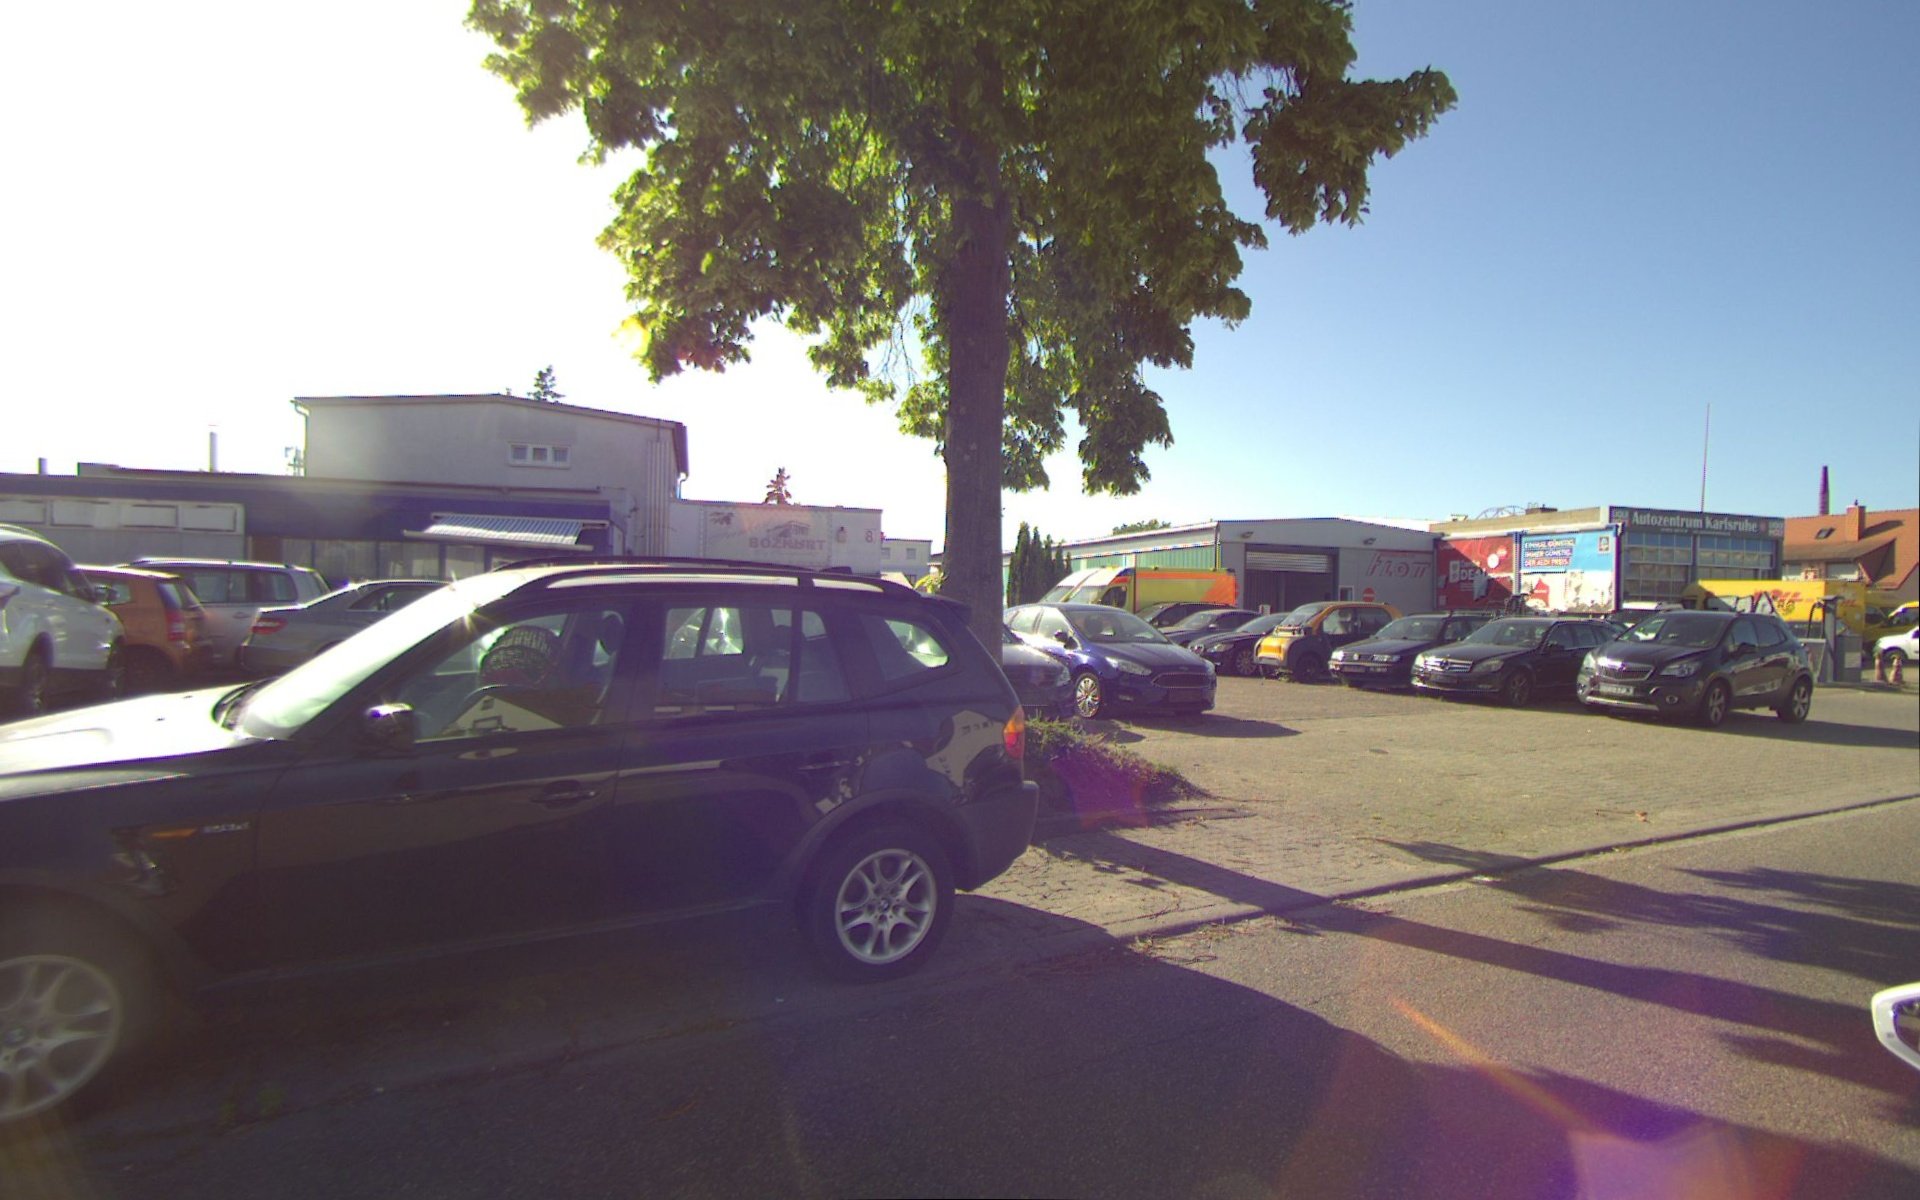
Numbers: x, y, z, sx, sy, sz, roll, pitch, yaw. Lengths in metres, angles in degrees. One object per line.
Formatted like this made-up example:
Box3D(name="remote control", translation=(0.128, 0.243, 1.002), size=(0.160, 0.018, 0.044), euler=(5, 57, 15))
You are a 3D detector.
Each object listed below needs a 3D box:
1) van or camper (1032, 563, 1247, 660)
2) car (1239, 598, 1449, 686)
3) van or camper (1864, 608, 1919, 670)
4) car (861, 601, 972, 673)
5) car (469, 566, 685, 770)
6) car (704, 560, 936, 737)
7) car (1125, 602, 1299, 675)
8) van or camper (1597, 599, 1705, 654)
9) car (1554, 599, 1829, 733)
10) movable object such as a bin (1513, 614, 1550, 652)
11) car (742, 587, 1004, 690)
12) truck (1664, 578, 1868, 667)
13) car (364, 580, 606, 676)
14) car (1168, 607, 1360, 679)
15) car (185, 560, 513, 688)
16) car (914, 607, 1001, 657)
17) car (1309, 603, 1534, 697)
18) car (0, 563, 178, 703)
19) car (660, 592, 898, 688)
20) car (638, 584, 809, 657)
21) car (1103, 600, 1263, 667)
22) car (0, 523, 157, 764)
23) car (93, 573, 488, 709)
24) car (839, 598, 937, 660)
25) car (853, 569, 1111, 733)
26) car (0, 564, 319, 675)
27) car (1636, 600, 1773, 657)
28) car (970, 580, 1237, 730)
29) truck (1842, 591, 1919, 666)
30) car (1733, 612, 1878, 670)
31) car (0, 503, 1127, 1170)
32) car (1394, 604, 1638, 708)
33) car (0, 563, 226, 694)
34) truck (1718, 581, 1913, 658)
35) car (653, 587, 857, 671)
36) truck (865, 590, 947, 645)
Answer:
Box3D(name="van or camper", translation=(5.460, 0.392, 30.542), size=(6.172, 2.751, 2.162), euler=(1, 0, -19))
Box3D(name="car", translation=(8.307, 0.843, 21.797), size=(4.098, 1.772, 1.775), euler=(0, 0, -19))
Box3D(name="van or camper", translation=(33.007, 1.315, 32.896), size=(2.219, 2.040, 4.533), euler=(1, 0, -23))
Box3D(name="car", translation=(-1.109, 0.795, 23.324), size=(1.642, 1.469, 3.986), euler=(3, -1, -16))
Box3D(name="car", translation=(-4.316, 0.608, 10.908), size=(1.743, 1.751, 4.233), euler=(1, -1, -27))
Box3D(name="car", translation=(-1.894, 0.503, 12.251), size=(1.741, 1.751, 4.239), euler=(1, -1, -23))
Box3D(name="car", translation=(6.539, 0.939, 26.087), size=(4.098, 1.772, 1.775), euler=(0, 0, -19))
Box3D(name="van or camper", translation=(26.902, 1.041, 39.079), size=(3.950, 2.040, 1.853), euler=(1, 0, -28))
Box3D(name="car", translation=(11.409, 0.951, 15.621), size=(4.227, 1.737, 1.852), euler=(1, 3, -31))
Box3D(name="movable object such as a bin", translation=(22.474, 1.294, 39.521), size=(1.280, 1.471, 0.537), euler=(1, 0, -19))
Box3D(name="car", translation=(-1.422, 0.609, 16.424), size=(3.944, 1.537, 1.660), euler=(1, 0, -24))
Box3D(name="truck", translation=(30.889, 0.767, 38.788), size=(2.483, 3.161, 5.664), euler=(1, 1, -18))
Box3D(name="car", translation=(-8.405, 0.495, 18.048), size=(3.728, 1.585, 1.660), euler=(1, 0, -24))
Box3D(name="car", translation=(7.188, 0.961, 23.806), size=(4.098, 1.566, 1.775), euler=(0, 0, -19))
Box3D(name="car", translation=(-8.843, 0.360, 14.967), size=(3.944, 1.716, 1.660), euler=(1, 0, -24))
Box3D(name="car", translation=(-0.143, 0.964, 31.400), size=(1.565, 1.441, 3.598), euler=(1, 0, -21))
Box3D(name="car", translation=(8.980, 0.987, 19.470), size=(4.227, 1.610, 1.852), euler=(4, -1, -31))
Box3D(name="car", translation=(-11.607, 0.344, 11.431), size=(3.944, 1.537, 1.660), euler=(1, 0, -24))
Box3D(name="car", translation=(-3.267, 0.700, 18.115), size=(3.944, 1.585, 1.660), euler=(1, 0, -24))
Box3D(name="car", translation=(-5.804, 0.505, 24.732), size=(3.934, 1.676, 1.664), euler=(1, 0, -16))
Box3D(name="car", translation=(6.260, 0.898, 28.311), size=(4.098, 1.772, 1.775), euler=(0, 0, -19))
Box3D(name="car", translation=(-8.649, 0.301, 8.802), size=(1.744, 1.751, 4.231), euler=(1, -1, -28))
Box3D(name="car", translation=(-8.278, 0.503, 12.881), size=(3.944, 1.537, 1.660), euler=(1, 0, -24))
Box3D(name="car", translation=(-2.077, 0.755, 27.878), size=(1.645, 1.572, 3.980), euler=(1, 0, -21))
Box3D(name="car", translation=(0.083, 0.574, 13.060), size=(1.741, 1.751, 4.239), euler=(1, -1, -23))
Box3D(name="car", translation=(-12.469, 0.316, 15.887), size=(3.664, 1.585, 1.660), euler=(1, 0, -24))
Box3D(name="car", translation=(26.777, 1.021, 36.174), size=(3.936, 1.840, 1.992), euler=(2, 1, -17))
Box3D(name="car", translation=(1.798, 0.665, 14.033), size=(1.741, 1.751, 4.239), euler=(1, -1, -23))
Box3D(name="truck", translation=(35.042, 1.067, 35.186), size=(2.188, 2.602, 5.917), euler=(1, 1, -17))
Box3D(name="car", translation=(27.719, 1.293, 32.932), size=(4.148, 1.583, 1.862), euler=(-3, 2, -20))
Box3D(name="car", translation=(-1.616, 0.635, 4.202), size=(4.501, 1.795, 1.666), euler=(1, 2, -30))
Box3D(name="car", translation=(9.778, 0.928, 17.605), size=(4.227, 1.611, 1.852), euler=(1, 0, -31))
Box3D(name="car", translation=(-12.356, 0.350, 13.298), size=(3.944, 1.640, 1.660), euler=(1, 0, -24))
Box3D(name="truck", translation=(35.843, 0.781, 42.359), size=(2.137, 3.012, 6.091), euler=(1, 0, -16))
Box3D(name="car", translation=(-4.165, 0.578, 20.423), size=(3.795, 1.585, 1.660), euler=(1, 0, -24))
Box3D(name="truck", translation=(-2.312, 0.666, 40.931), size=(1.995, 2.090, 5.856), euler=(1, 0, -17))
